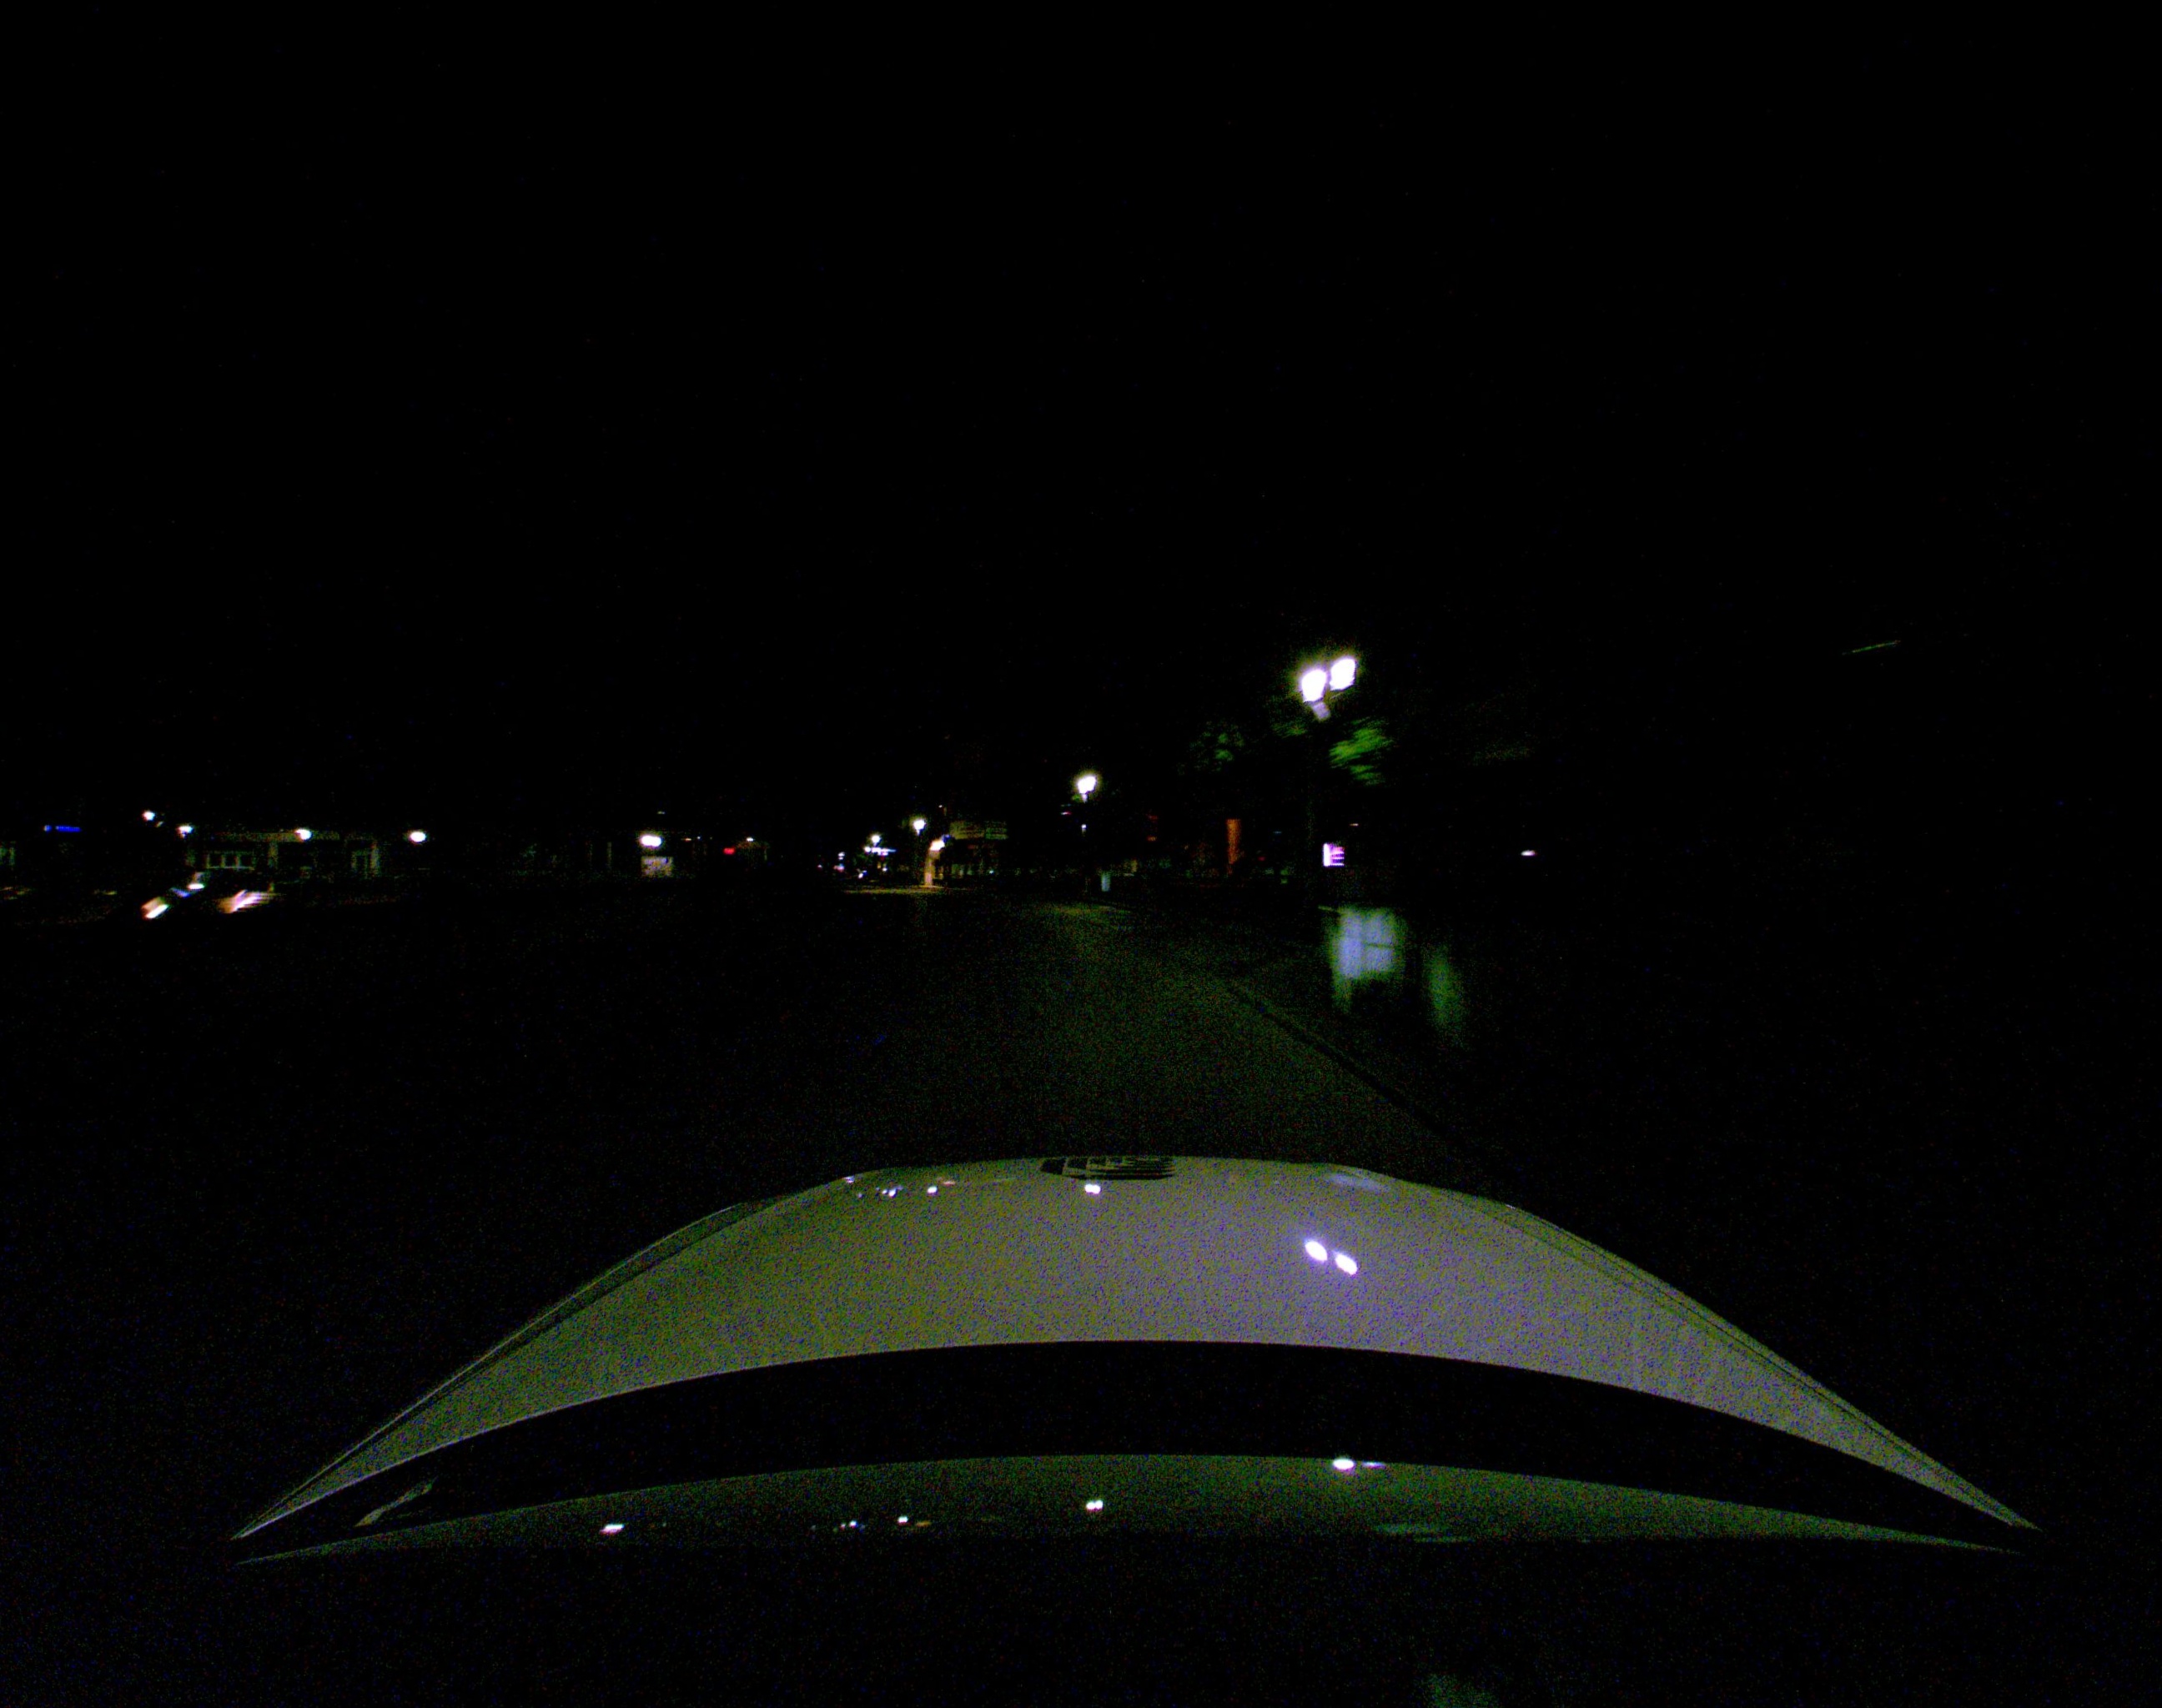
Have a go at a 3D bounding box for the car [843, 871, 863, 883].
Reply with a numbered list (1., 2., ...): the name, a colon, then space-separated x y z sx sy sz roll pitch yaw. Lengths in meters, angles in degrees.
1. car: -27.518 2.761 98.086 1.841 1.358 3.970 -1 0 -23

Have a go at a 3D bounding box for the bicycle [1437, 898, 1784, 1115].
1. bicycle: 3.025 0.812 4.693 1.751 1.062 0.653 0 0 -13

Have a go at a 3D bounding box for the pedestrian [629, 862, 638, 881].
1. pedestrian: -36.557 1.438 66.517 0.475 1.546 0.463 -1 0 38

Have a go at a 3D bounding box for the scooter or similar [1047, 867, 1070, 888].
1. scooter or similar: -1.344 1.423 48.917 1.248 1.227 0.595 2 0 -16
